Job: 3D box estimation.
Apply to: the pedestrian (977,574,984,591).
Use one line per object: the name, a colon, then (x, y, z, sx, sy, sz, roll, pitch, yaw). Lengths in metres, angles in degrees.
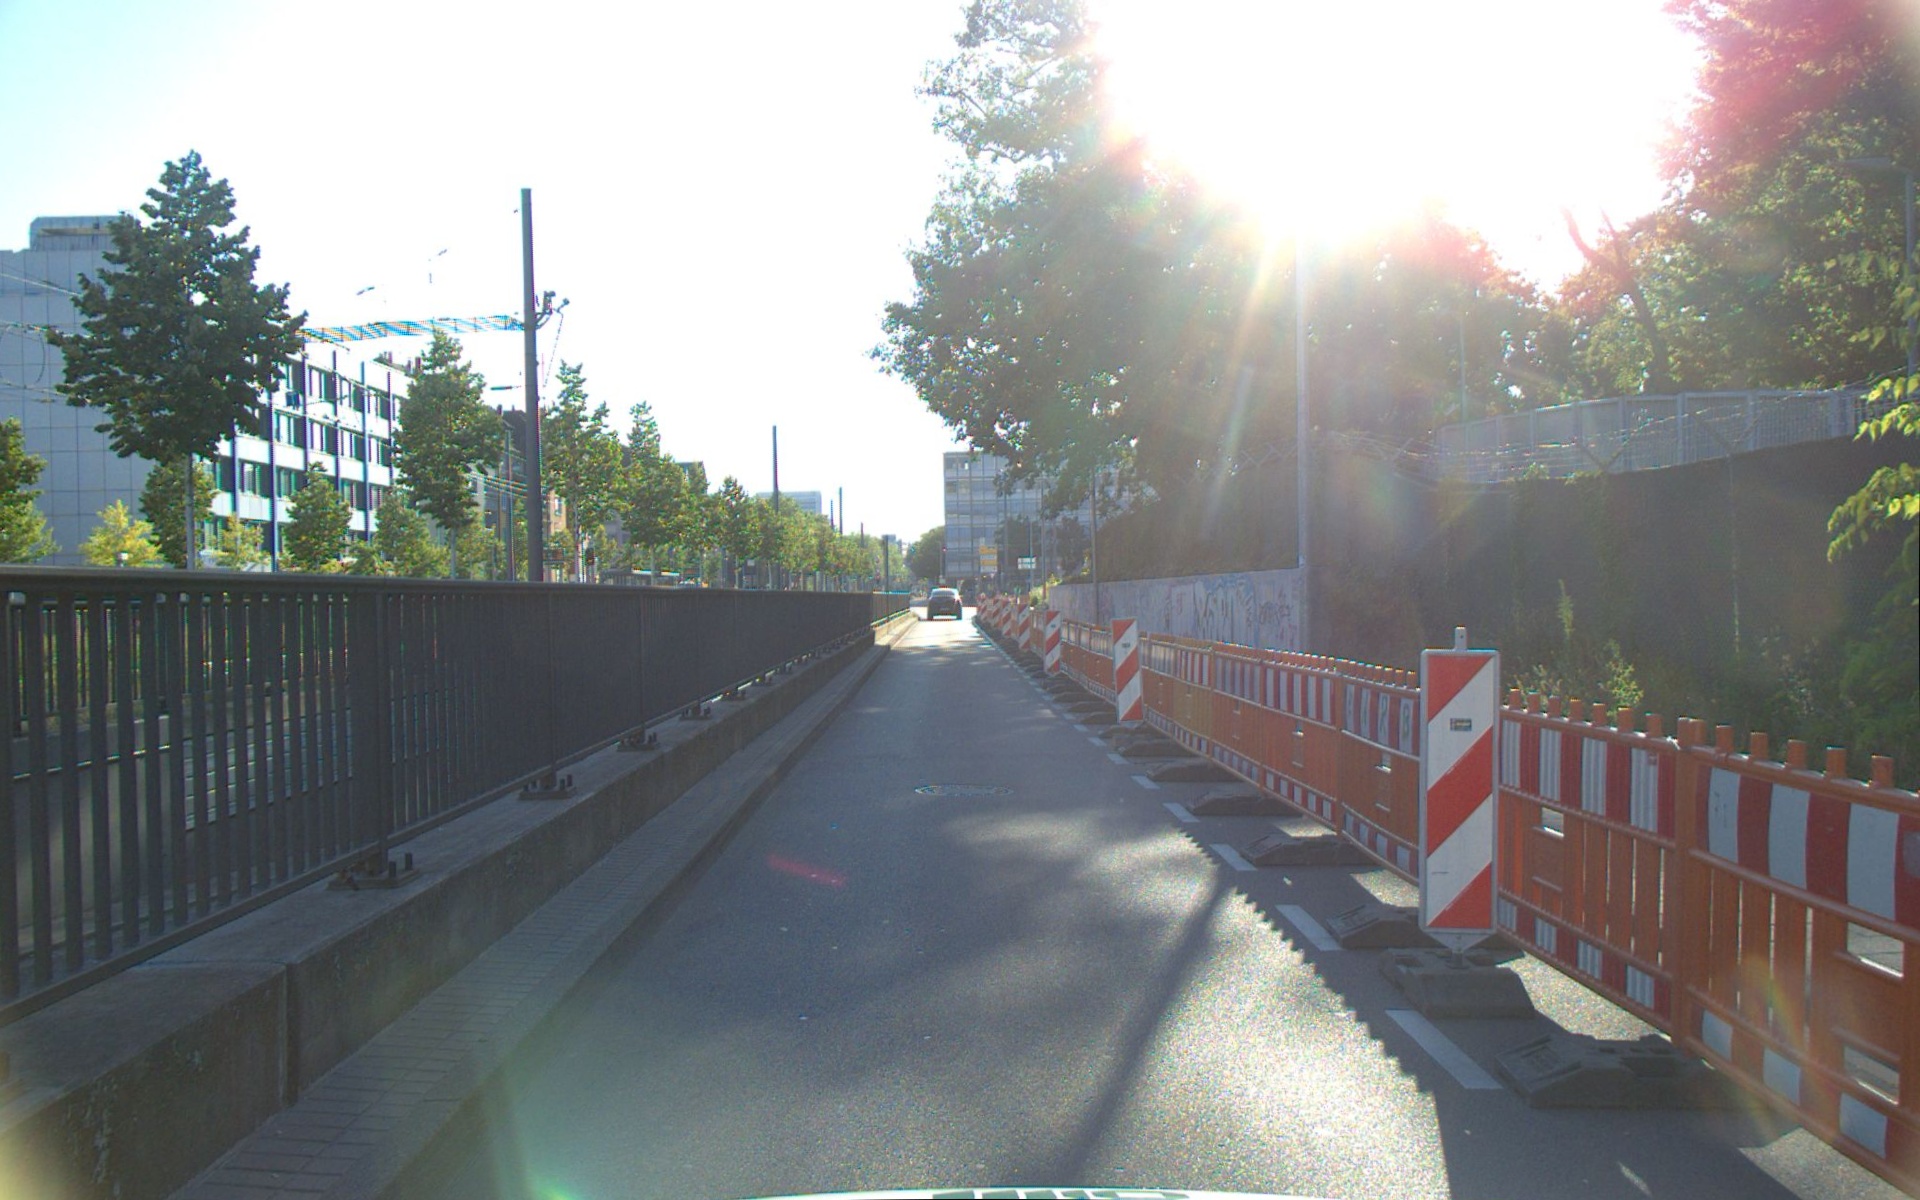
pedestrian: (2.529, -2.183, 204.799, 0.873, 2.149, 0.718, -1, 1, 4)

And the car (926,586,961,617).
car: (-0.926, 0.094, 94.330, 1.964, 1.688, 4.000, 1, 0, 0)
